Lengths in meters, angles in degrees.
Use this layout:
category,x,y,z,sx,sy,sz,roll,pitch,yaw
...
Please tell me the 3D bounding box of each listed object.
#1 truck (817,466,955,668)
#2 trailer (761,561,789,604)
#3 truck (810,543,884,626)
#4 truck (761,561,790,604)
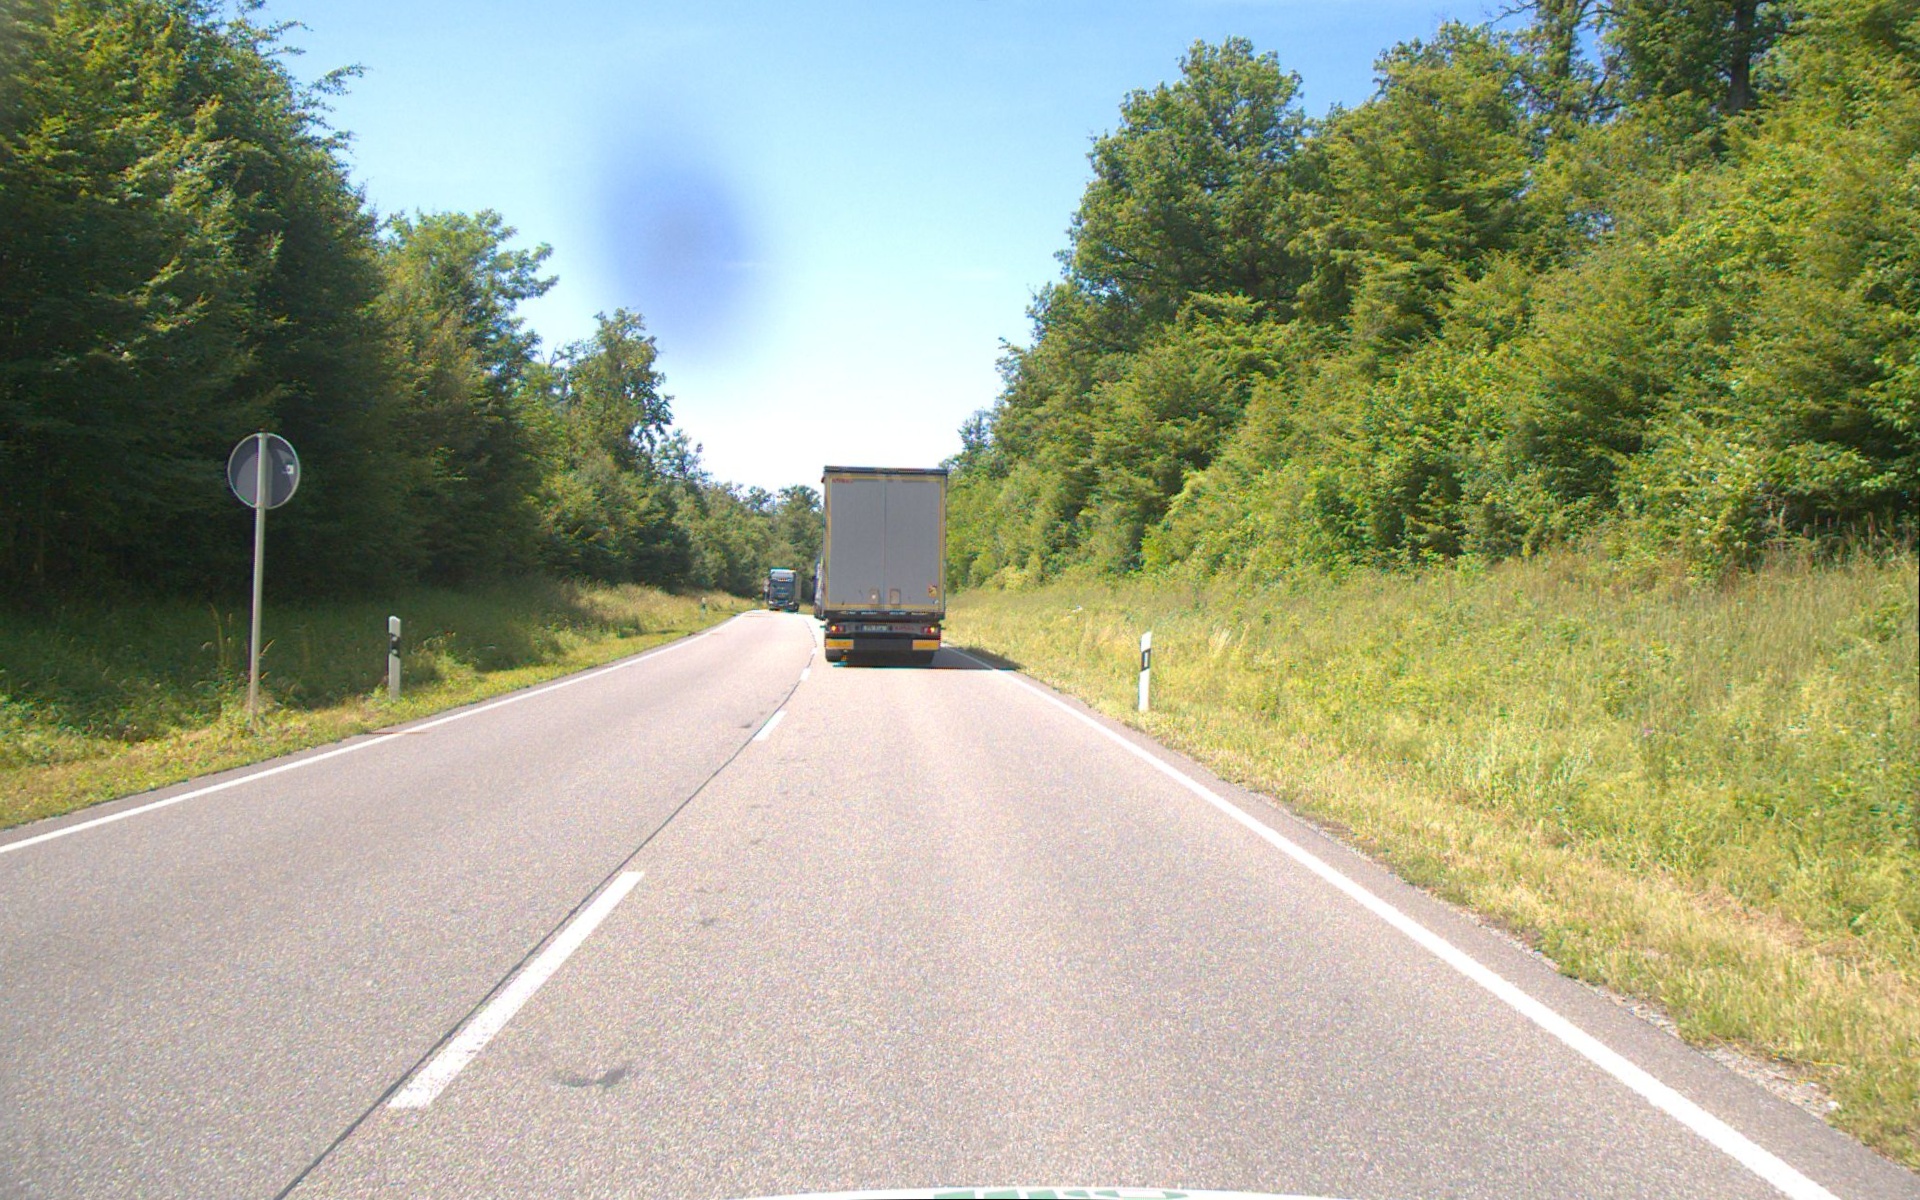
category,x,y,z,sx,sy,sz,roll,pitch,yaw
truck,-1.888,-0.708,39.435,2.707,4.016,12.188,1,0,-4
trailer,-19.541,-1.844,175.210,2.885,4.327,13.601,0,0,-6
truck,-6.922,-0.841,98.836,3.720,4.449,14.899,2,0,-6
truck,-18.771,-1.799,168.027,2.866,4.289,5.336,0,0,-6
